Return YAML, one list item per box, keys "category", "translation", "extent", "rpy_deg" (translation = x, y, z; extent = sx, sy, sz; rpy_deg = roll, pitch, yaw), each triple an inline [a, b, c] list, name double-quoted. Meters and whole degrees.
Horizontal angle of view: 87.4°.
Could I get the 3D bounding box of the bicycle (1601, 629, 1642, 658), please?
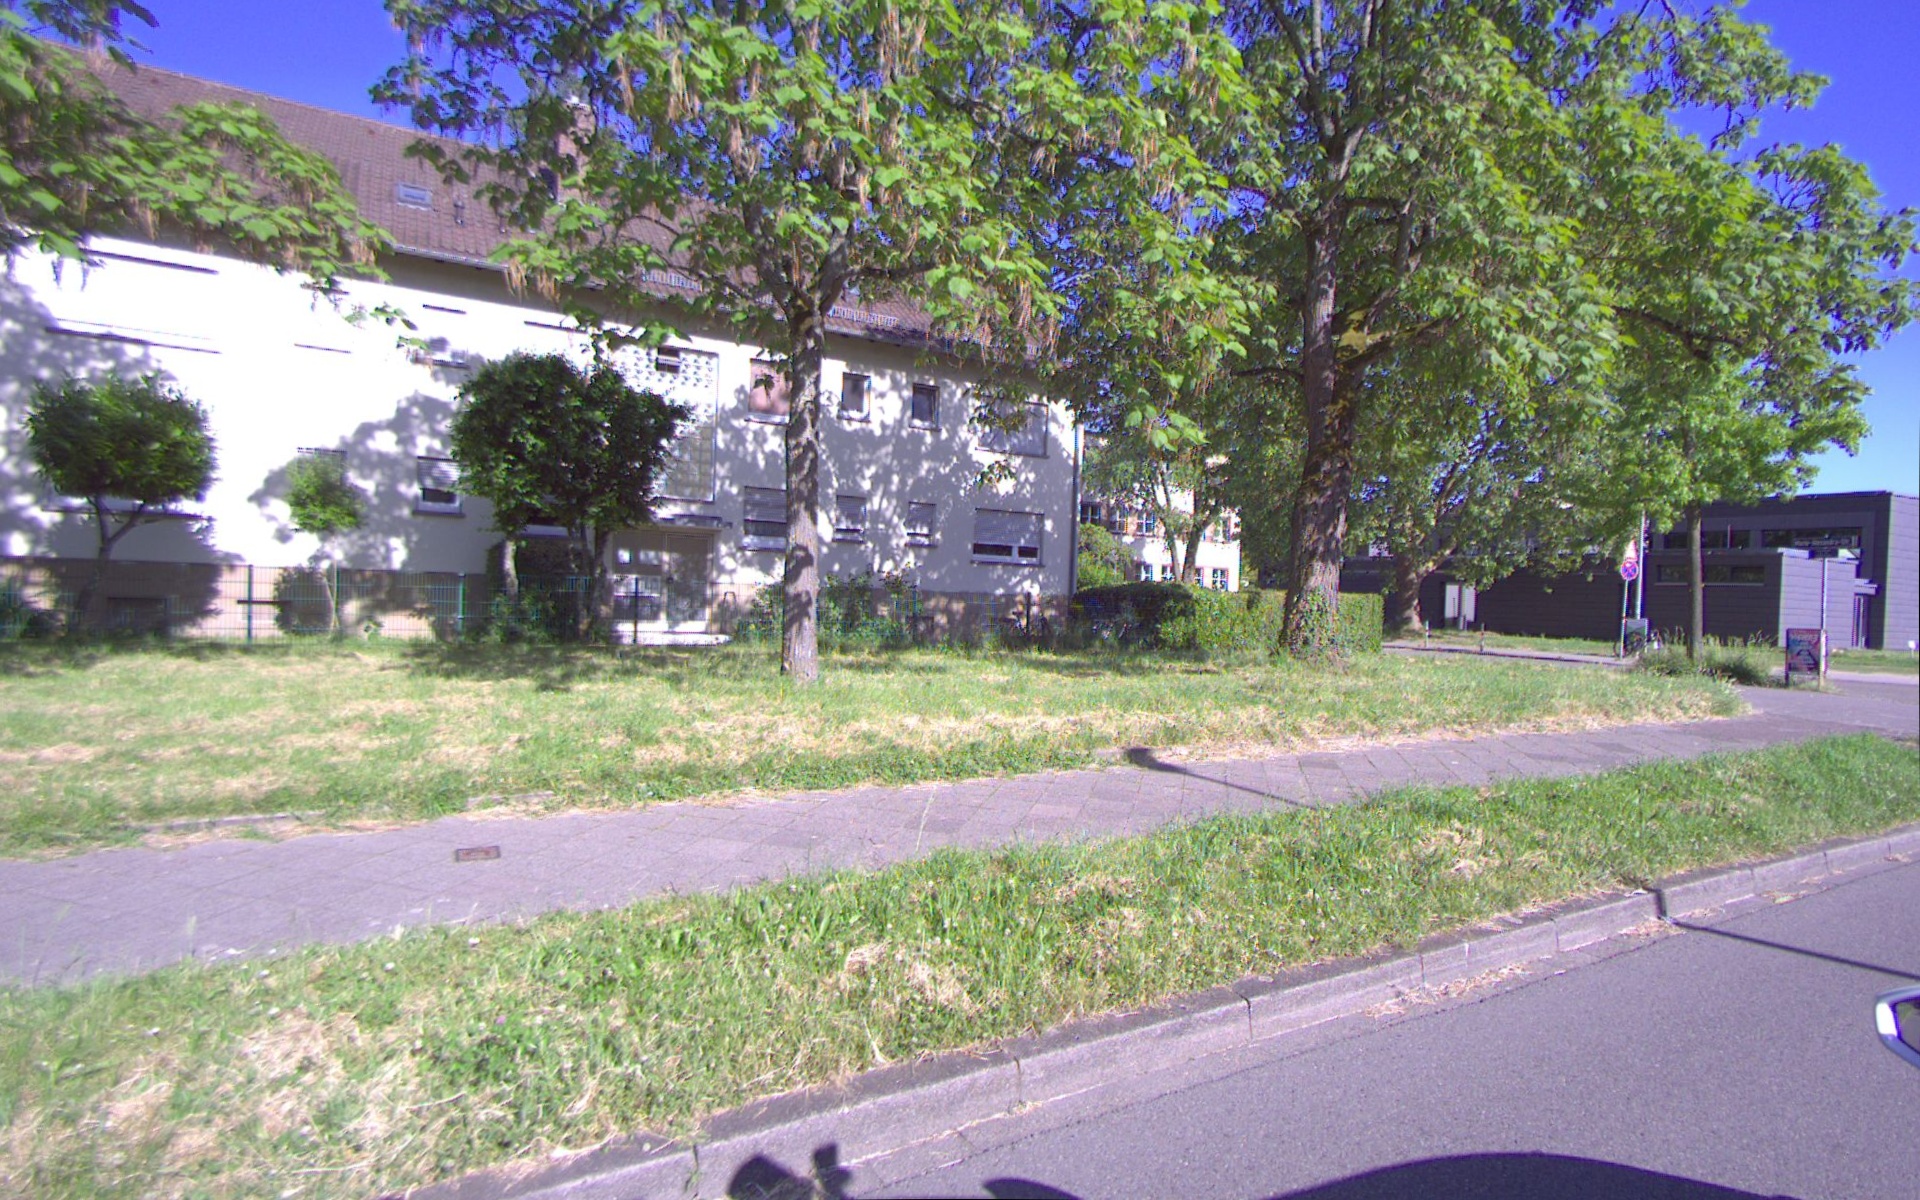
- category: "bicycle"
  translation: [21.640, 1.428, 32.868]
  extent: [0.999, 0.899, 0.440]
  rpy_deg: [0, 0, 16]
